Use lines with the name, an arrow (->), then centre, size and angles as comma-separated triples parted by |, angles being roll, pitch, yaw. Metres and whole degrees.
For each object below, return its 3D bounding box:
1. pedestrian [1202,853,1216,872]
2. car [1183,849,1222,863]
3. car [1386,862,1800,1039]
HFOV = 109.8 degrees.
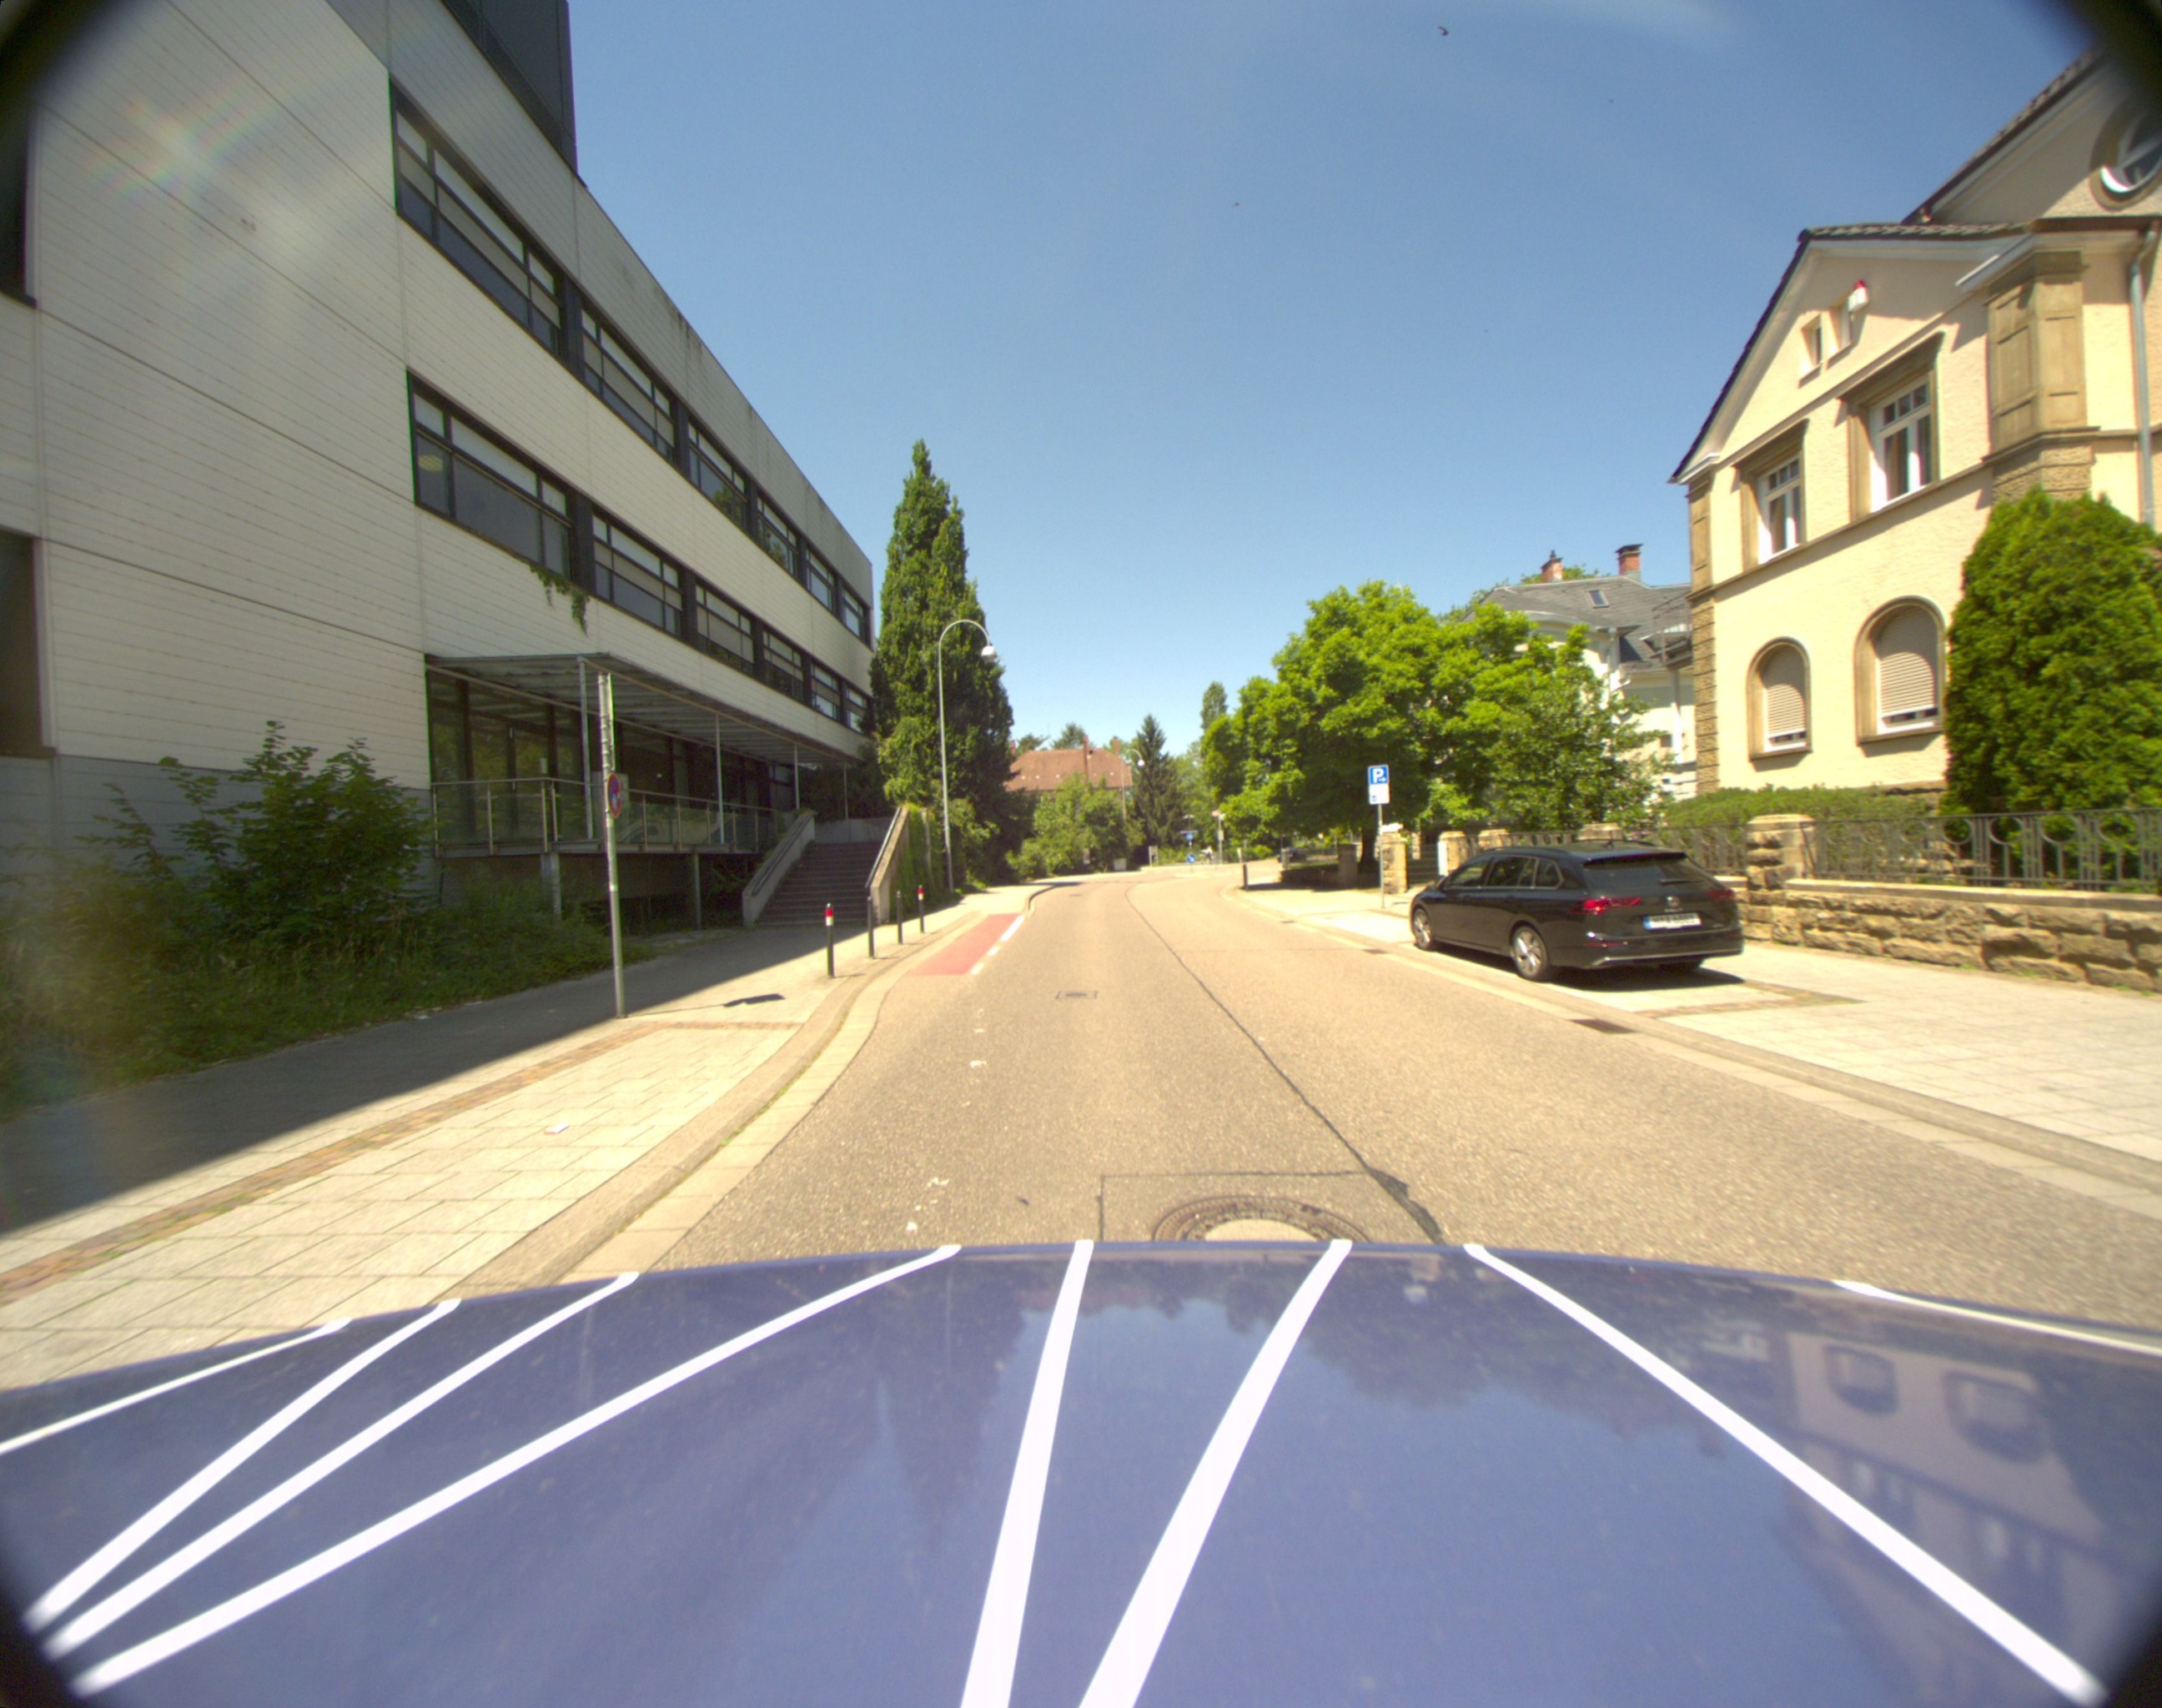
pedestrian -> 12.484, 0.796, 74.129 | 0.917, 1.762, 0.912 | -3, 3, -40
car -> 15.098, 0.237, 94.540 | 4.496, 1.491, 1.770 | -3, 0, 1
car -> 5.694, 0.919, 9.392 | 1.930, 1.428, 4.659 | -5, 0, 1
